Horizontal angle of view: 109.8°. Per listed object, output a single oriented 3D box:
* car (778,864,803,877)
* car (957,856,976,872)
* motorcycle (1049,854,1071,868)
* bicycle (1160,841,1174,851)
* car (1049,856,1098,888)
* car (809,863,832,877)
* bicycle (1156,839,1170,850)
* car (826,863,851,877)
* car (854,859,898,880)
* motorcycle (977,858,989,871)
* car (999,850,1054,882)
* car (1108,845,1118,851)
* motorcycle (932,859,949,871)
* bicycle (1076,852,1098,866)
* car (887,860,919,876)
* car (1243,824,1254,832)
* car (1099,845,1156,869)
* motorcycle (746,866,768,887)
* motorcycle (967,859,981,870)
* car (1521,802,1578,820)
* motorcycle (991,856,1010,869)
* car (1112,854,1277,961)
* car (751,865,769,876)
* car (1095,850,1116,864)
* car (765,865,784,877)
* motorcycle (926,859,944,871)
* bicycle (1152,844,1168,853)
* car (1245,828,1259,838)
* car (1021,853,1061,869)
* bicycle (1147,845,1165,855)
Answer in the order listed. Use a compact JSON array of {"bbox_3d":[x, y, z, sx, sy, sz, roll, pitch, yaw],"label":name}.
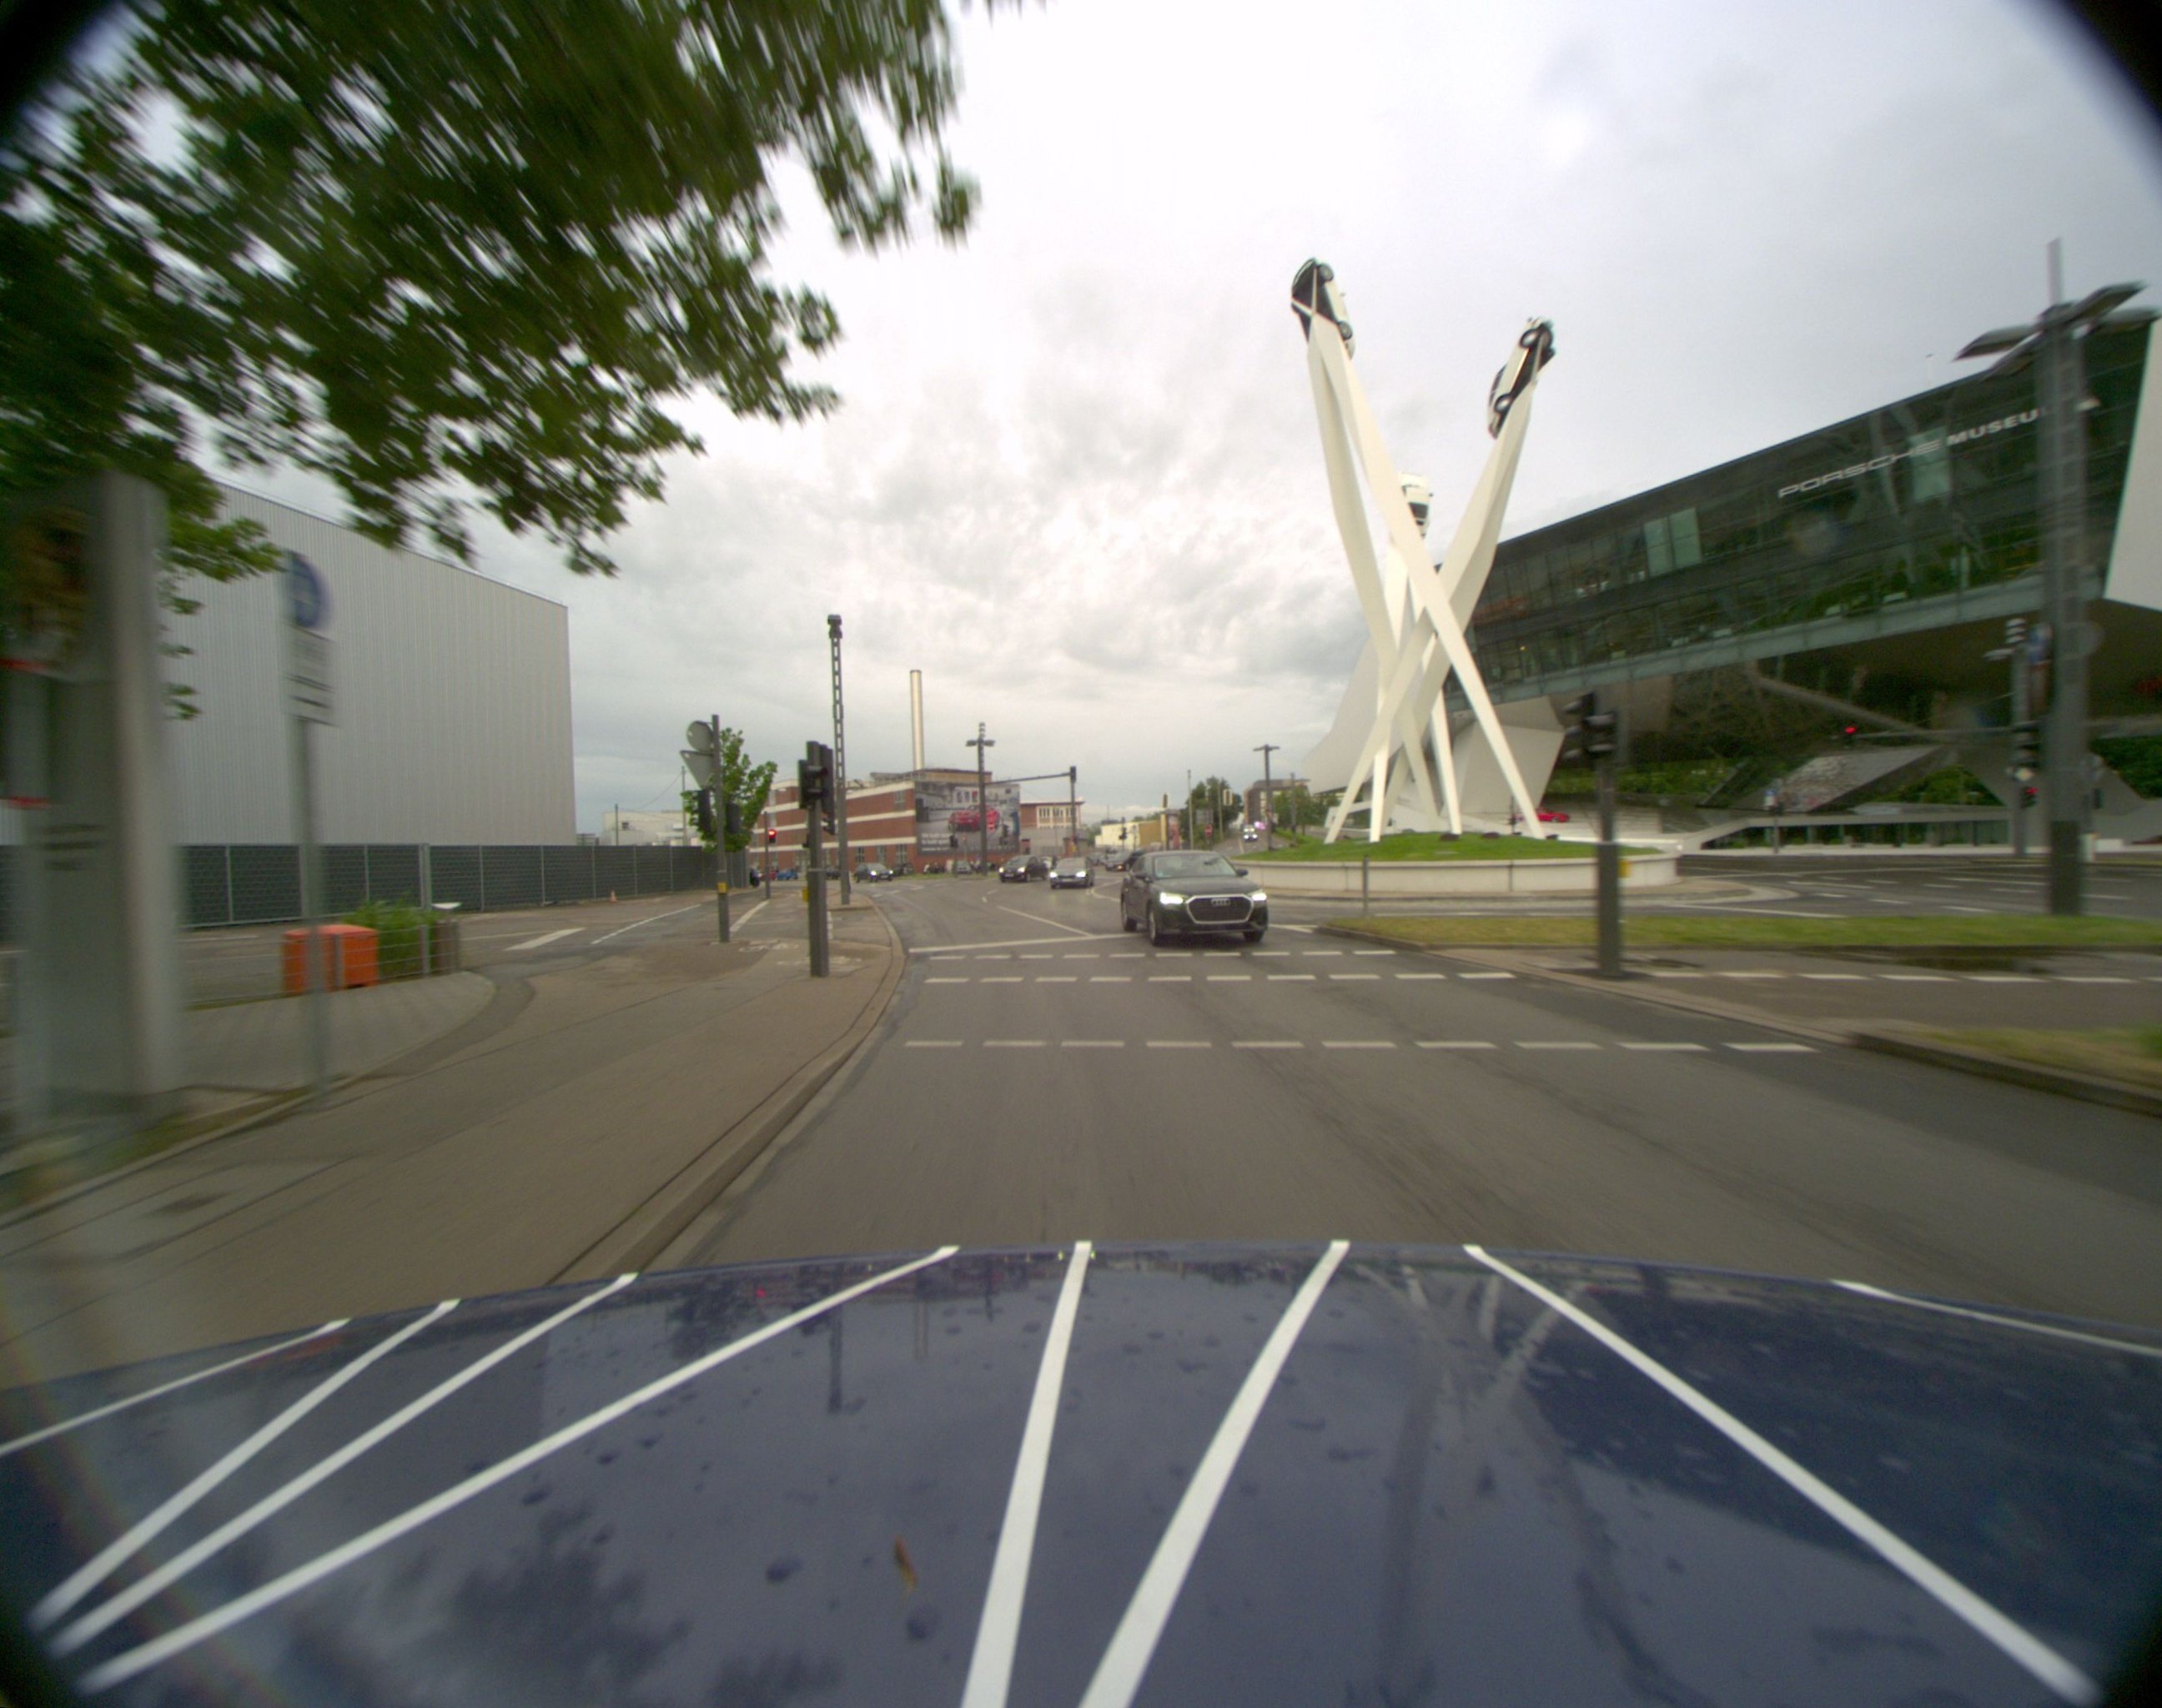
[{"bbox_3d":[-37.366,2.117,97.723,3.379,1.436,1.700,-2,4,45],"label":"car"},{"bbox_3d":[-11.172,0.957,73.899,1.625,1.495,3.243,-3,1,-12],"label":"car"},{"bbox_3d":[-1.974,0.641,70.536,2.089,1.139,0.489,-2,3,34],"label":"motorcycle"},{"bbox_3d":[9.574,-0.915,84.526,1.463,1.068,0.442,-3,4,-18],"label":"bicycle"},{"bbox_3d":[-0.288,0.844,37.721,1.816,1.430,4.304,-1,0,7],"label":"car"},{"bbox_3d":[-30.761,1.882,89.804,1.461,1.436,3.380,-6,3,-38],"label":"car"},{"bbox_3d":[9.316,-1.068,86.306,1.542,1.149,0.451,-1,4,8],"label":"bicycle"},{"bbox_3d":[-27.327,1.777,85.693,1.461,1.436,3.456,-6,3,-38],"label":"car"},{"bbox_3d":[-15.481,1.160,57.244,1.723,1.417,3.990,-4,1,-37],"label":"car"},{"bbox_3d":[-9.602,1.027,74.422,0.496,1.140,1.719,-6,3,-32],"label":"motorcycle"},{"bbox_3d":[-3.107,0.689,44.247,1.691,1.499,4.014,-3,2,19],"label":"car"},{"bbox_3d":[8.250,-1.587,197.207,1.721,1.417,3.996,-3,1,-11],"label":"car"},{"bbox_3d":[-14.481,1.149,78.454,1.604,1.114,0.543,-6,3,-33],"label":"motorcycle"},{"bbox_3d":[0.561,0.434,69.444,2.076,1.124,0.420,-6,3,-30],"label":"bicycle"},{"bbox_3d":[-17.627,1.395,75.152,2.745,1.484,1.557,-3,-1,29],"label":"car"},{"bbox_3d":[35.232,-5.511,159.894,1.816,1.430,4.304,-1,0,7],"label":"car"},{"bbox_3d":[3.431,0.208,55.697,4.075,1.466,1.745,-6,3,-43],"label":"car"},{"bbox_3d":[-21.135,1.473,49.588,0.657,1.303,2.095,-3,0,-40],"label":"motorcycle"},{"bbox_3d":[-11.224,1.101,79.677,0.545,1.174,1.708,-6,3,-37],"label":"motorcycle"},{"bbox_3d":[45.733,-4.263,74.257,2.003,1.378,4.230,-3,9,-33],"label":"car"},{"bbox_3d":[-8.216,0.878,77.362,1.868,1.105,0.543,-6,4,-41],"label":"motorcycle"},{"bbox_3d":[1.797,0.795,13.576,1.757,1.509,4.391,-3,1,-7],"label":"car"},{"bbox_3d":[-44.851,2.357,106.137,1.461,1.368,3.380,-6,3,-38],"label":"car"},{"bbox_3d":[3.464,0.385,106.906,1.781,1.657,4.509,-3,1,16],"label":"car"},{"bbox_3d":[-41.035,2.268,101.707,1.461,1.436,3.380,-6,3,-38],"label":"car"},{"bbox_3d":[-15.226,1.156,79.086,1.650,1.105,0.543,-6,3,-33],"label":"motorcycle"},{"bbox_3d":[8.208,-0.556,78.979,1.613,0.916,0.422,-2,2,25],"label":"bicycle"},{"bbox_3d":[26.519,-3.313,118.027,1.816,1.430,4.304,-1,0,7],"label":"car"},{"bbox_3d":[-4.315,0.764,82.216,3.991,1.481,1.570,-3,1,22],"label":"car"},{"bbox_3d":[7.546,-0.411,76.222,1.742,0.956,0.422,-2,4,21],"label":"bicycle"}]
